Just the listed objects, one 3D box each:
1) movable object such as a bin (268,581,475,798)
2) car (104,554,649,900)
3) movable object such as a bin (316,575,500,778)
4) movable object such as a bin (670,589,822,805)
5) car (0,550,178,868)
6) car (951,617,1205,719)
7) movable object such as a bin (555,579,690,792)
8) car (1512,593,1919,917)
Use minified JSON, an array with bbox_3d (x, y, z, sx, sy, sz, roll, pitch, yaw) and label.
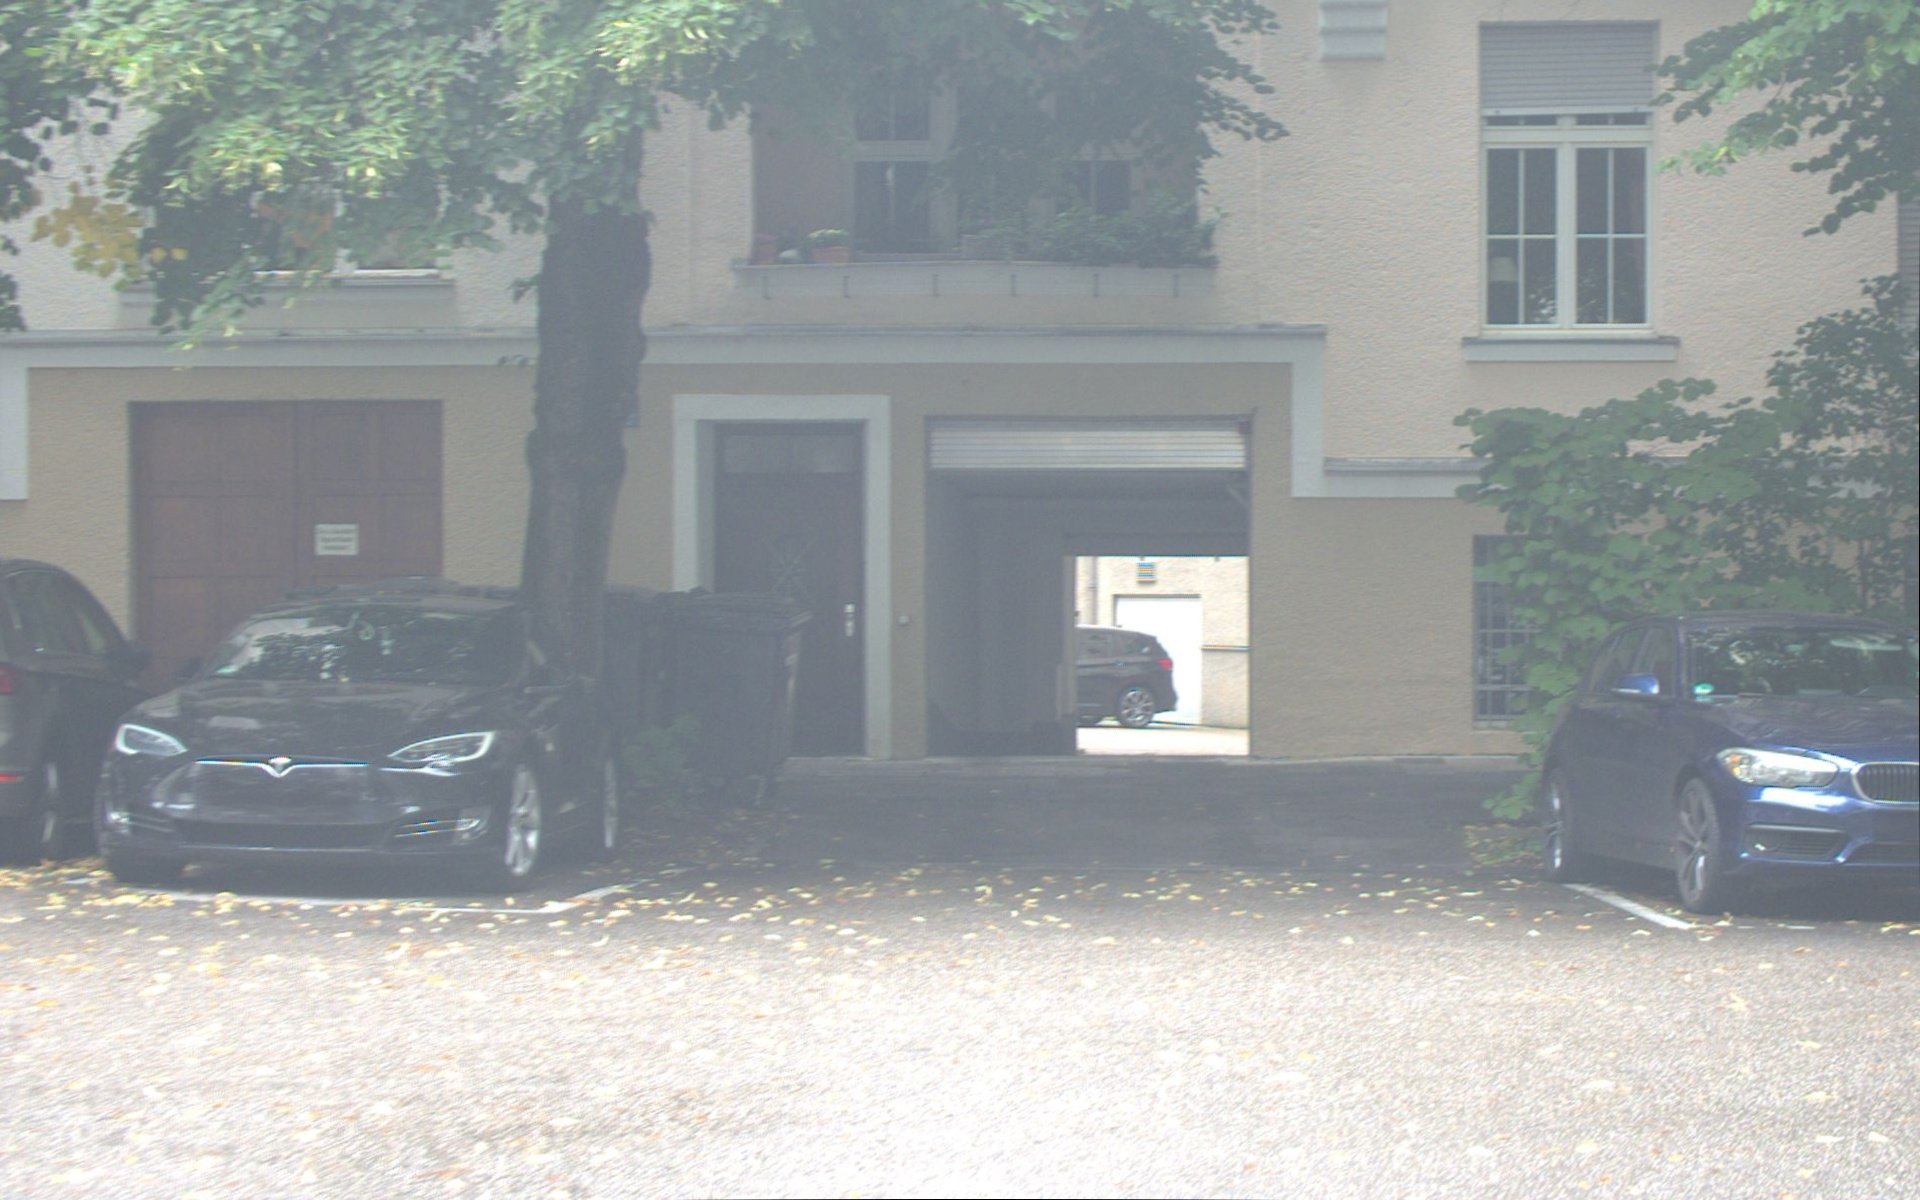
[{"bbox_3d":[-3.831,0.570,22.482,1.150,1.344,1.157,1,1,-1],"label":"movable object such as a bin"},{"bbox_3d":[-2.755,0.612,17.208,1.704,1.462,4.287,2,-2,4],"label":"car"},{"bbox_3d":[-3.801,0.517,23.752,1.117,1.344,0.864,1,1,-1],"label":"movable object such as a bin"},{"bbox_3d":[-1.368,0.605,22.246,0.862,1.301,1.432,2,1,-1],"label":"movable object such as a bin"},{"bbox_3d":[-5.458,0.501,18.486,1.838,1.525,4.025,1,0,-4],"label":"car"},{"bbox_3d":[1.837,1.060,54.305,3.844,1.513,1.657,1,0,-3],"label":"car"},{"bbox_3d":[-2.208,0.540,22.640,0.713,1.343,1.373,1,1,1],"label":"movable object such as a bin"},{"bbox_3d":[4.056,0.680,16.808,1.838,1.378,4.343,0,-1,-2],"label":"car"}]
